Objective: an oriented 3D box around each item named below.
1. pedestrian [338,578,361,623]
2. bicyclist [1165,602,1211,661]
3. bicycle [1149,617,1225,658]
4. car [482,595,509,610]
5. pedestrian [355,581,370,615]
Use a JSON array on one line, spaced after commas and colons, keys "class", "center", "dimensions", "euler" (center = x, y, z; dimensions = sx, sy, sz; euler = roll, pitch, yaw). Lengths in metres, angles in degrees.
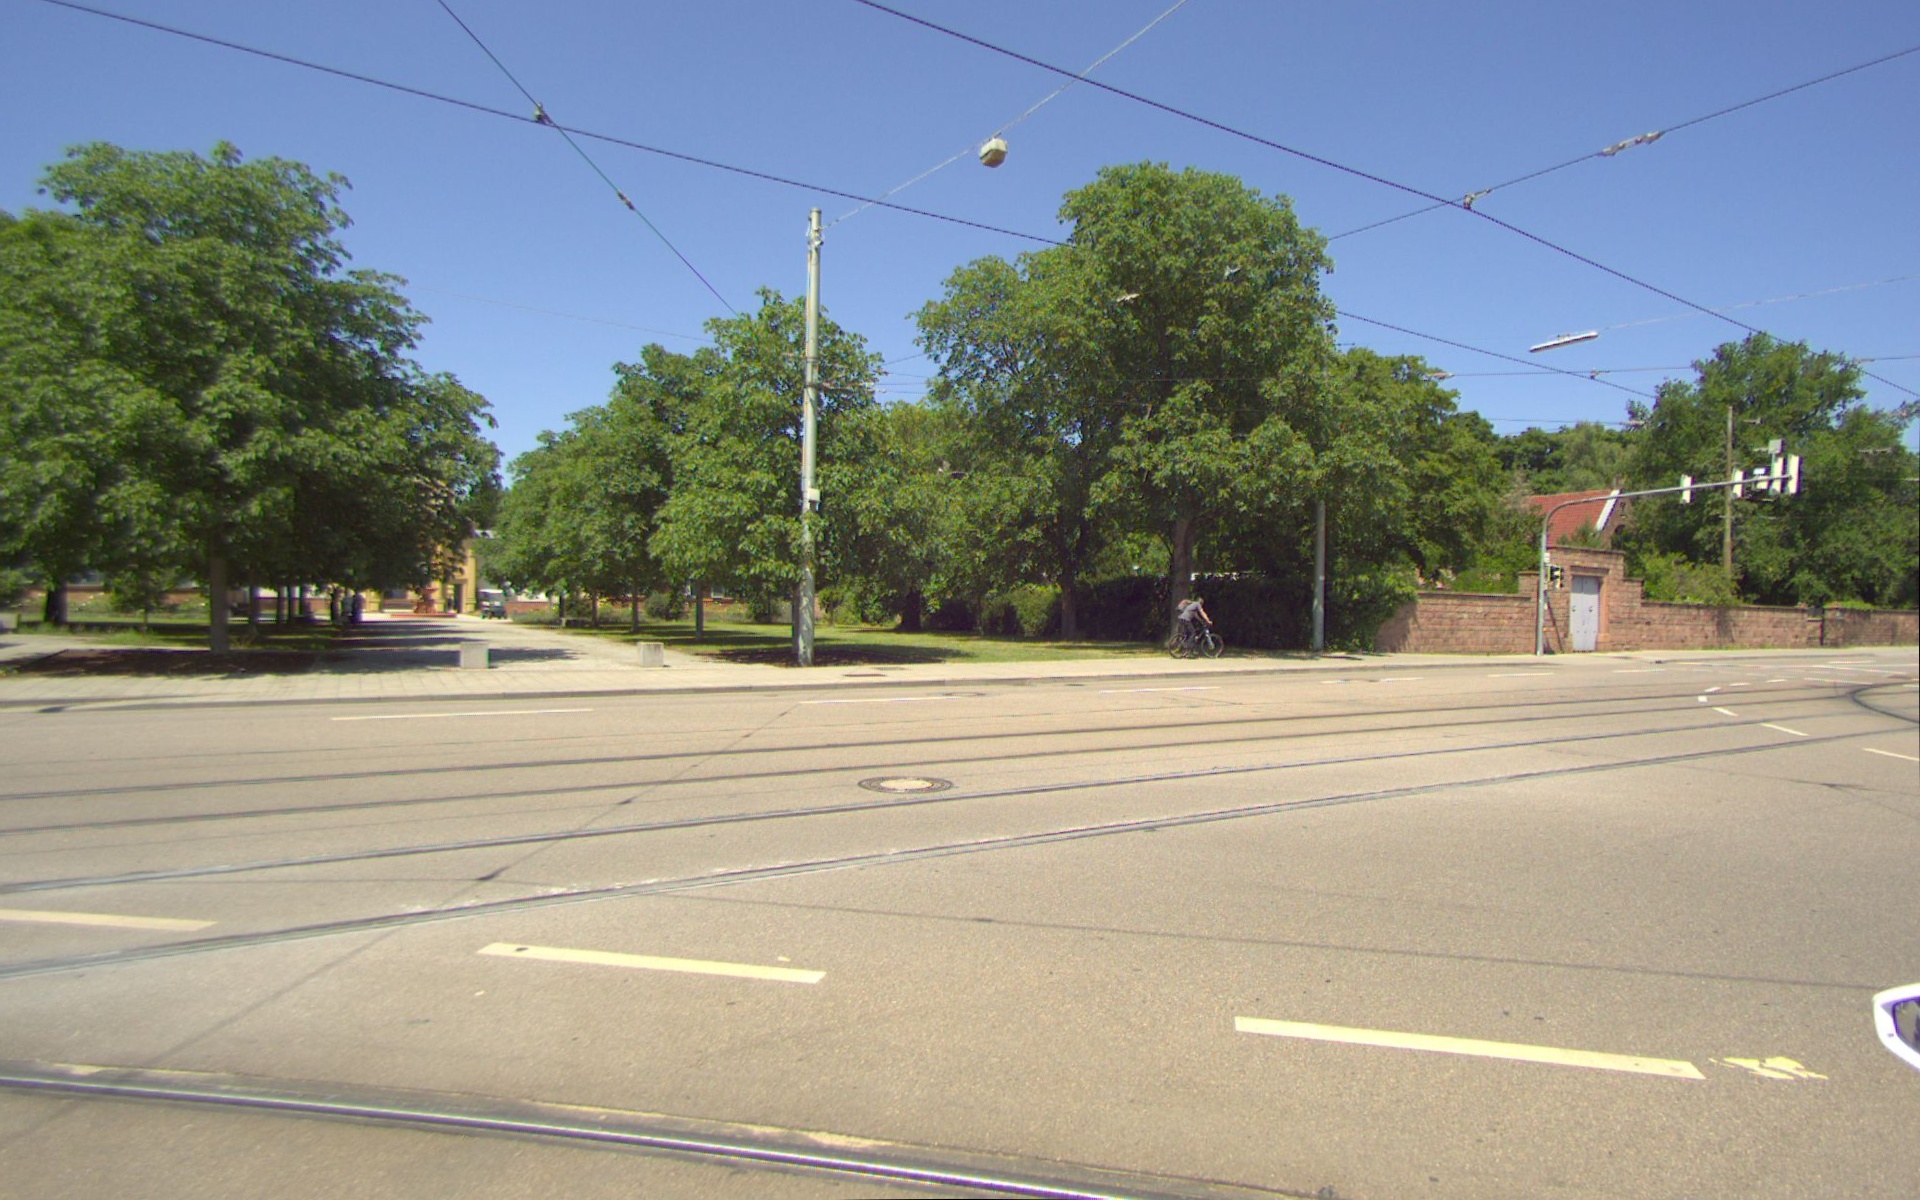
[{"class": "pedestrian", "center": [-23.147, 0.025, 38.081], "dimensions": [0.704, 1.669, 0.524], "euler": [1, 0, -31]}, {"class": "bicyclist", "center": [6.182, 0.857, 27.241], "dimensions": [0.835, 1.551, 0.846], "euler": [2, 0, -30]}, {"class": "bicycle", "center": [6.159, 1.028, 27.227], "dimensions": [2.079, 1.055, 0.711], "euler": [2, 0, -31]}, {"class": "car", "center": [-30.775, 0.157, 66.551], "dimensions": [1.316, 0.964, 2.713], "euler": [2, 0, -32]}, {"class": "pedestrian", "center": [-27.033, -0.082, 45.442], "dimensions": [0.526, 1.503, 0.523], "euler": [1, 0, -33]}]
